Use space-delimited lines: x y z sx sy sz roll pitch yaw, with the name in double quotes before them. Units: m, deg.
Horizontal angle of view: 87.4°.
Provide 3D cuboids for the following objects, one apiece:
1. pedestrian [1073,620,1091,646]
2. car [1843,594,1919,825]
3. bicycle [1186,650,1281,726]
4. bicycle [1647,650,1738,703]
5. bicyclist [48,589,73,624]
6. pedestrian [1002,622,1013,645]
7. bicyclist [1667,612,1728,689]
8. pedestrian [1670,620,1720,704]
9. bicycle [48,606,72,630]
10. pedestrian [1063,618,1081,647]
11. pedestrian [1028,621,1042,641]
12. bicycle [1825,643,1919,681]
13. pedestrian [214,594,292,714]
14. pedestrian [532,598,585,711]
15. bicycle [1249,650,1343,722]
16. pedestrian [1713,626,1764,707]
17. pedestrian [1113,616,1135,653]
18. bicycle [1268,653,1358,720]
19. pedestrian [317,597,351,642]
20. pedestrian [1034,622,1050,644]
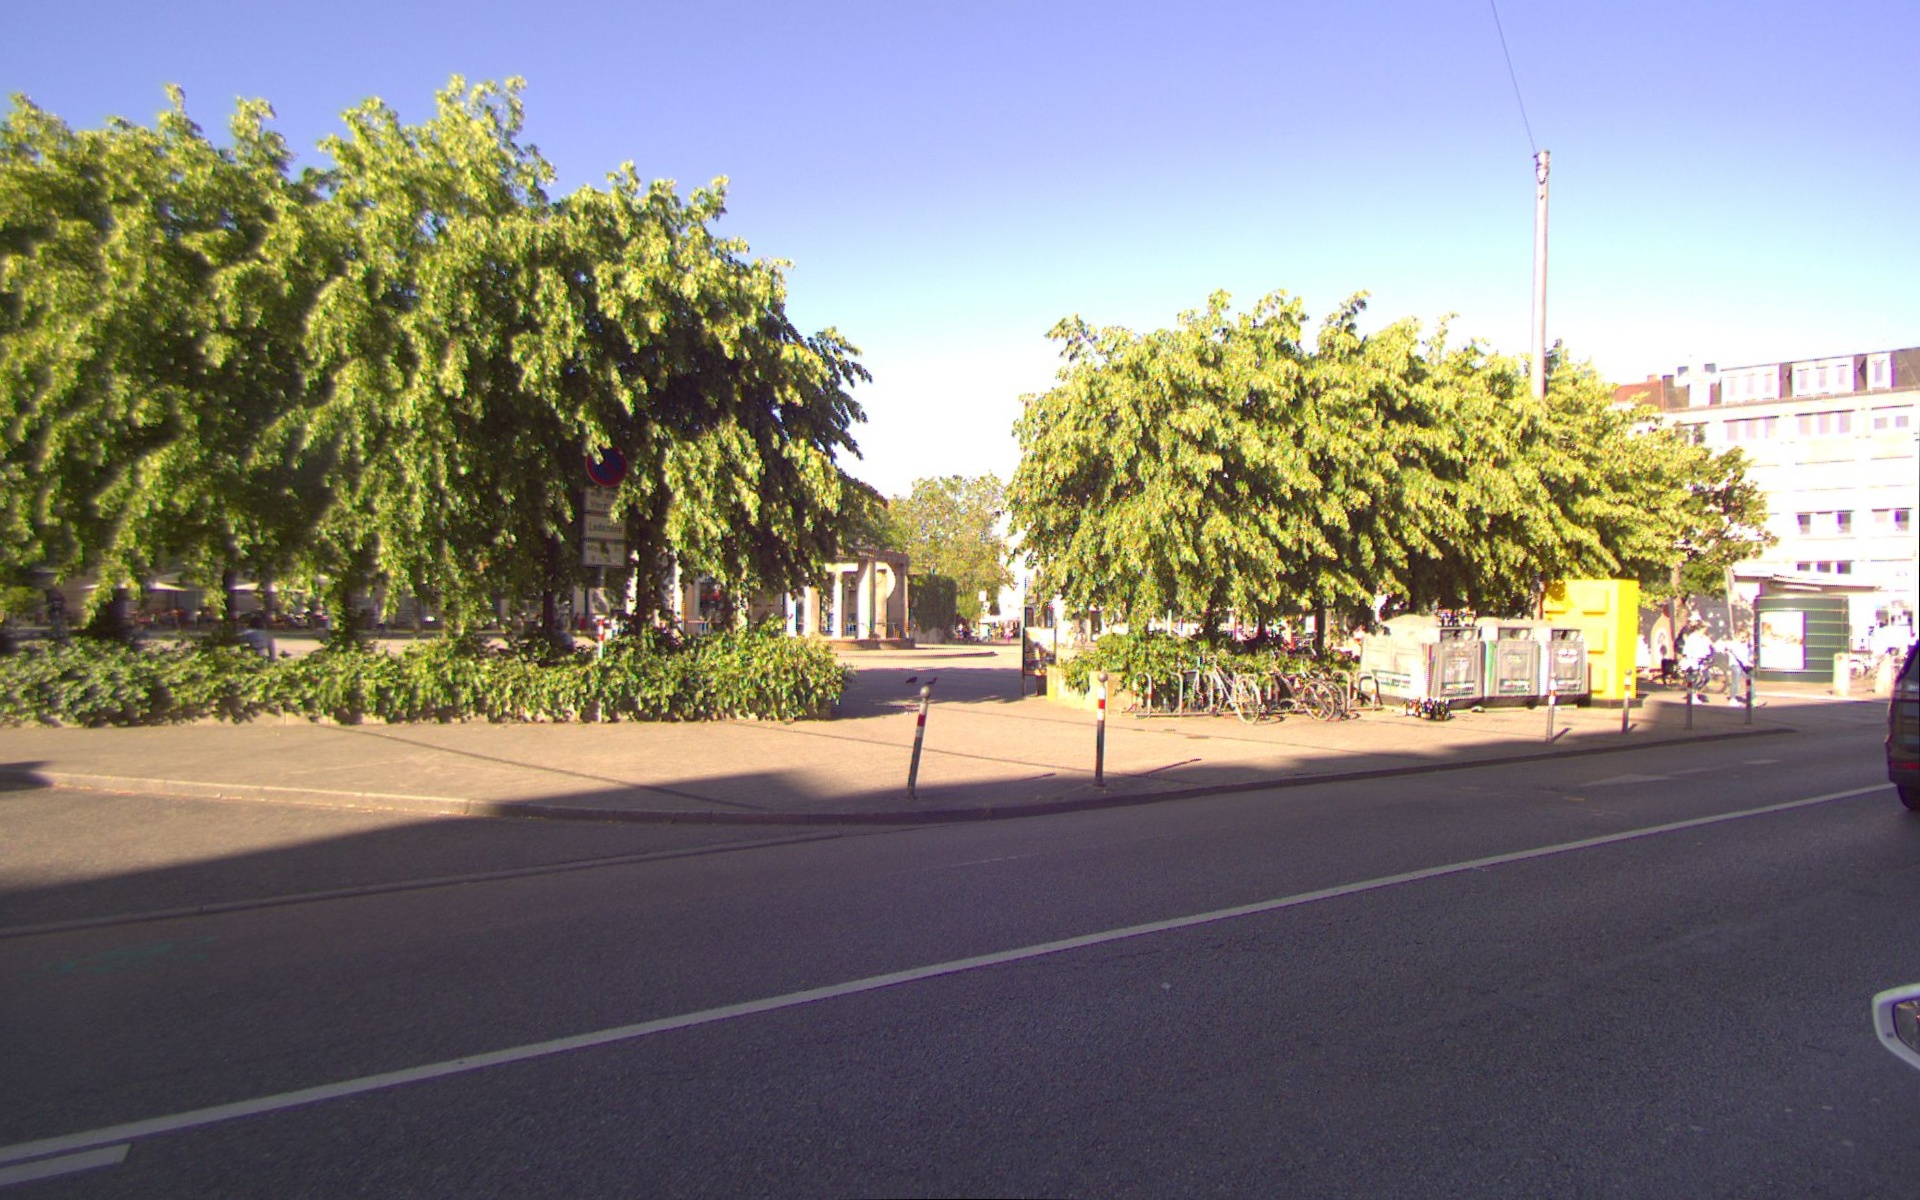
"pedestrian" 10.056 2.723 82.768 1.252 2.040 1.285 1 -1 -4
"car" 9.713 0.890 8.580 4.675 1.795 1.983 1 -2 -32
"bicycle" 4.200 1.325 15.535 0.425 1.031 1.590 1 0 -28
"bicycle" 18.431 1.893 25.334 0.528 1.154 2.064 1 1 -8
"bicyclist" -37.397 0.261 41.766 0.667 1.447 0.691 1 -1 -36
"pedestrian" 4.329 3.073 91.319 0.886 2.040 1.286 0 0 8
"bicyclist" 18.480 1.256 25.187 0.773 1.862 0.952 1 0 -7
"pedestrian" 15.675 1.308 21.429 0.661 1.751 0.549 1 -1 3
"bicycle" -37.380 0.757 41.722 0.584 0.966 1.886 2 -2 -38
"pedestrian" 7.918 2.301 71.083 0.804 2.040 1.047 1 -1 -31
"pedestrian" 7.740 3.173 103.449 1.252 2.040 1.285 1 -1 -4
"bicycle" 30.889 2.060 33.856 0.833 1.171 2.493 1 -1 -31
"pedestrian" -10.837 0.812 15.426 0.725 1.781 0.895 1 -1 -19
"pedestrian" -6.585 0.877 16.511 0.725 1.781 0.895 1 -1 -19
"bicycle" 5.369 1.358 16.118 0.425 1.036 1.561 1 -1 -28
"pedestrian" 16.505 1.391 21.307 0.608 1.684 0.685 1 -1 10
"pedestrian" 9.152 1.927 56.191 0.913 2.040 1.184 1 -1 -5
"bicycle" 5.757 1.393 16.446 0.425 0.971 1.518 0 0 -28
"pedestrian" -25.076 0.769 40.237 0.723 1.781 0.898 1 -1 29
"pedestrian" 7.775 3.133 95.223 1.252 2.040 1.285 1 -1 -4
